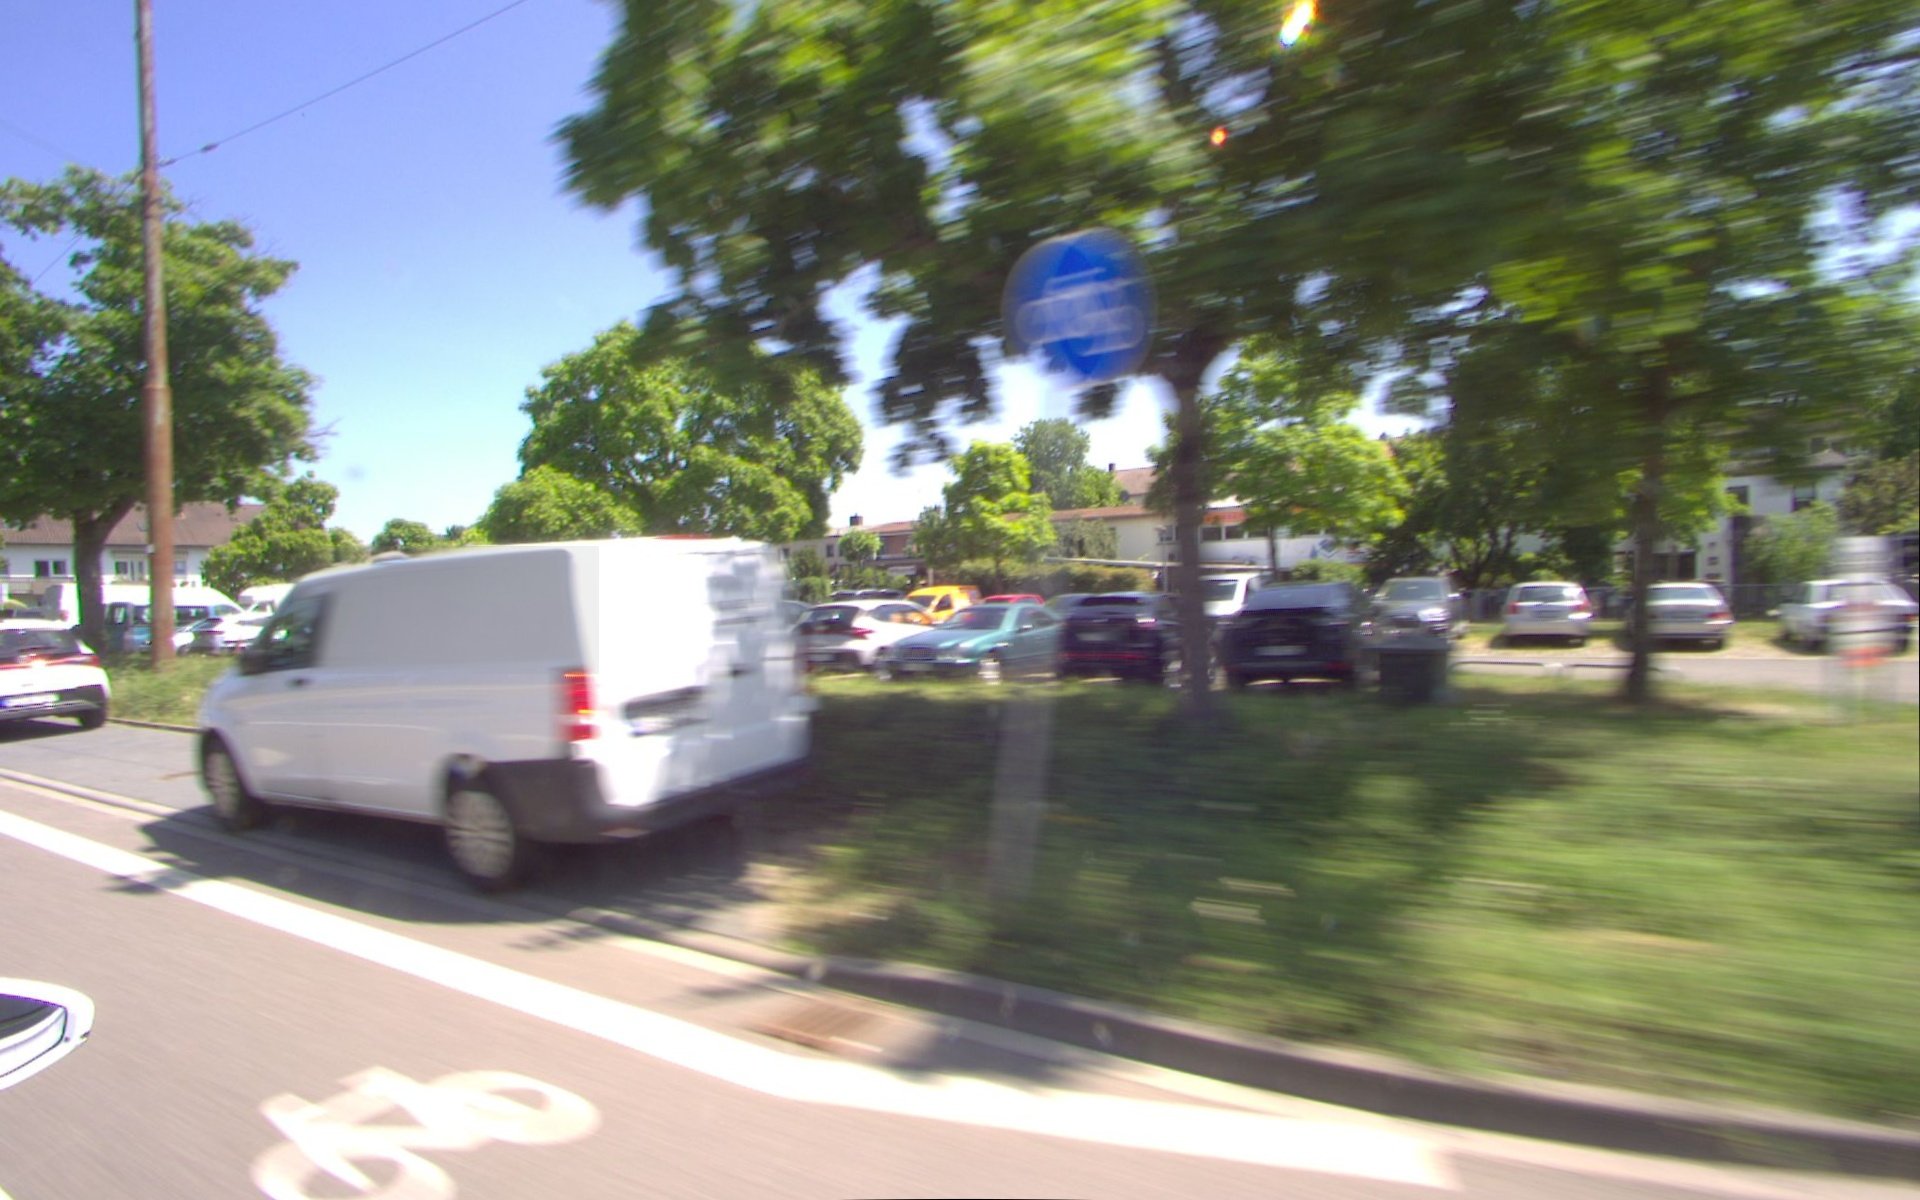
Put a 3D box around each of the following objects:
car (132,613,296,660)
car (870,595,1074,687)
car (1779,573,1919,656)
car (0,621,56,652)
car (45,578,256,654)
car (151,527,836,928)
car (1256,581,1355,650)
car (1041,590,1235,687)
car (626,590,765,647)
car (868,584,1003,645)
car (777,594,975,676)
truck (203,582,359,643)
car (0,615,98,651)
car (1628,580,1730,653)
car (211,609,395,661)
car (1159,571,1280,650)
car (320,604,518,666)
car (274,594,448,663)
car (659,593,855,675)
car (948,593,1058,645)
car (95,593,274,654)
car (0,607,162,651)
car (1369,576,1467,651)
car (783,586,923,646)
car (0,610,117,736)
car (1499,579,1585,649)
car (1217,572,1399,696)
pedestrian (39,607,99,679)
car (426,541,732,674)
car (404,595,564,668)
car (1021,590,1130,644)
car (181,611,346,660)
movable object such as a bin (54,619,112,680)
[{"bbox_3d":[-23.805,1.160,32.115,1.701,1.424,3.885,-1,-2,27],"label":"car"},{"bbox_3d":[0.324,0.668,16.729,1.703,1.342,3.881,-1,-2,31],"label":"car"},{"bbox_3d":[18.075,0.235,20.458,1.609,1.456,3.969,-1,2,33],"label":"car"},{"bbox_3d":[-43.924,1.667,45.538,1.745,1.375,3.853,-1,-2,33],"label":"car"},{"bbox_3d":[-28.536,0.607,35.529,2.065,2.491,5.480,-1,-2,33],"label":"car"},{"bbox_3d":[-3.443,0.609,6.991,5.052,1.943,1.874,-1,3,33],"label":"car"},{"bbox_3d":[9.266,0.365,26.671,1.609,1.626,3.969,-1,2,33],"label":"car"},{"bbox_3d":[2.878,0.585,15.546,1.703,1.297,3.881,-1,-2,31],"label":"car"},{"bbox_3d":[-10.059,0.660,38.521,2.065,1.902,5.082,-1,2,33],"label":"car"},{"bbox_3d":[-0.723,0.443,34.065,2.065,1.776,5.139,-1,2,33],"label":"car"},{"bbox_3d":[-1.424,0.636,18.461,1.703,1.342,3.881,-1,-2,31],"label":"car"},{"bbox_3d":[-38.643,0.651,57.260,2.389,3.127,6.931,-1,2,31],"label":"truck"},{"bbox_3d":[-39.559,1.401,42.642,1.744,1.510,4.017,-1,-2,30],"label":"car"},{"bbox_3d":[15.854,0.317,22.226,1.609,1.388,3.969,-1,2,33],"label":"car"},{"bbox_3d":[-19.329,1.037,29.645,1.702,1.424,4.272,-1,-2,30],"label":"car"},{"bbox_3d":[7.284,0.218,27.763,1.881,1.926,4.905,-1,2,31],"label":"car"},{"bbox_3d":[-14.529,0.952,27.164,1.924,1.524,4.403,-1,-2,29],"label":"car"},{"bbox_3d":[-16.830,0.818,28.303,1.924,1.807,3.778,-1,-2,28],"label":"car"},{"bbox_3d":[-3.771,0.650,19.277,1.700,1.398,3.886,-1,-2,26],"label":"car"},{"bbox_3d":[1.467,0.570,32.565,1.609,1.456,4.299,-1,2,33],"label":"car"},{"bbox_3d":[-26.129,0.824,33.913,1.924,1.933,4.404,-1,-2,28],"label":"car"},{"bbox_3d":[-35.023,1.163,39.931,1.927,1.665,4.683,-1,-2,33],"label":"car"},{"bbox_3d":[11.382,0.273,24.752,1.645,1.622,3.969,-1,2,33],"label":"car"},{"bbox_3d":[-3.610,0.497,34.874,2.065,1.776,5.139,-1,2,33],"label":"car"},{"bbox_3d":[-13.139,0.931,13.337,4.150,1.447,1.717,-1,2,33],"label":"car"},{"bbox_3d":[14.083,0.299,24.148,1.609,1.463,3.969,-1,2,33],"label":"car"},{"bbox_3d":[5.140,0.483,14.434,1.654,1.509,4.193,-1,-2,31],"label":"car"},{"bbox_3d":[-21.193,1.005,23.816,0.929,1.647,0.803,0,1,32],"label":"pedestrian"},{"bbox_3d":[-8.278,0.254,22.542,2.233,2.561,6.325,-1,-2,35],"label":"car"},{"bbox_3d":[-12.209,0.823,25.845,1.703,1.739,3.366,-1,-2,32],"label":"car"},{"bbox_3d":[3.659,0.486,31.078,1.609,1.456,4.299,-1,2,33],"label":"car"},{"bbox_3d":[-21.640,1.105,31.265,1.702,1.424,3.883,-1,-2,30],"label":"car"},{"bbox_3d":[-20.431,1.134,23.330,0.876,1.371,0.790,0,1,32],"label":"movable object such as a bin"}]
